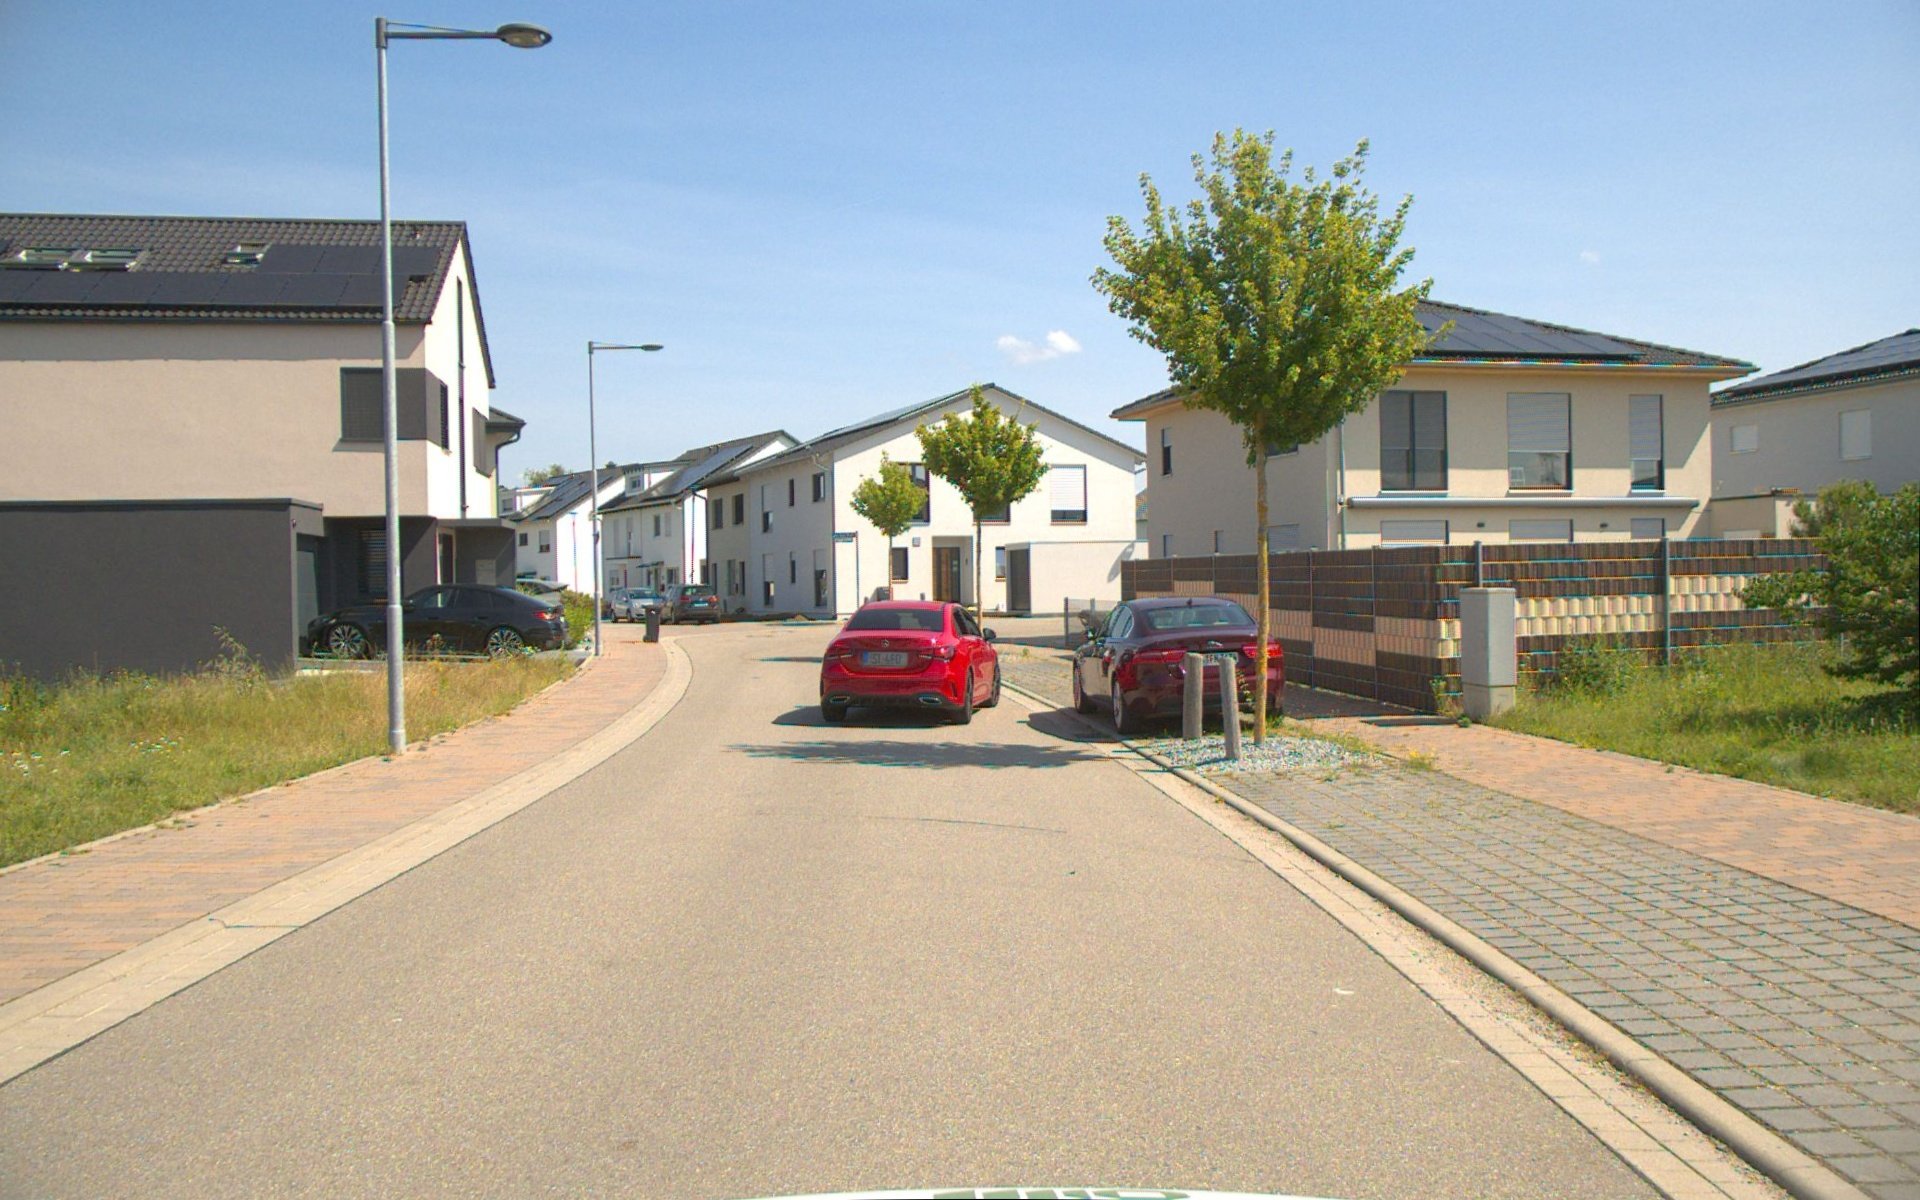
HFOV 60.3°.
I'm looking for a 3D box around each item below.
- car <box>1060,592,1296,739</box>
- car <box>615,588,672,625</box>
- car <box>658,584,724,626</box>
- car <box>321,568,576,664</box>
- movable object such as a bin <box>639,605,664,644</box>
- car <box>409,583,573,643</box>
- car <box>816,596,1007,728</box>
[{"bbox_3d":[2.377,0.660,19.248,1.720,1.387,4.571,-3,1,-5],"label":"car"},{"bbox_3d":[-13.507,0.272,70.418,1.654,1.489,3.918,-2,1,-22],"label":"car"},{"bbox_3d":[-9.964,0.176,61.140,1.701,1.447,3.977,-2,1,-19],"label":"car"},{"bbox_3d":[-9.488,0.293,30.997,4.294,1.660,1.767,1,0,-9],"label":"car"},{"bbox_3d":[-7.726,0.611,41.457,0.523,0.952,0.526,1,0,1],"label":"movable object such as a bin"},{"bbox_3d":[-12.360,0.330,43.773,3.911,1.512,1.752,-1,1,-7],"label":"car"},{"bbox_3d":[-0.496,0.689,20.967,1.725,1.463,4.523,0,0,7],"label":"car"}]
